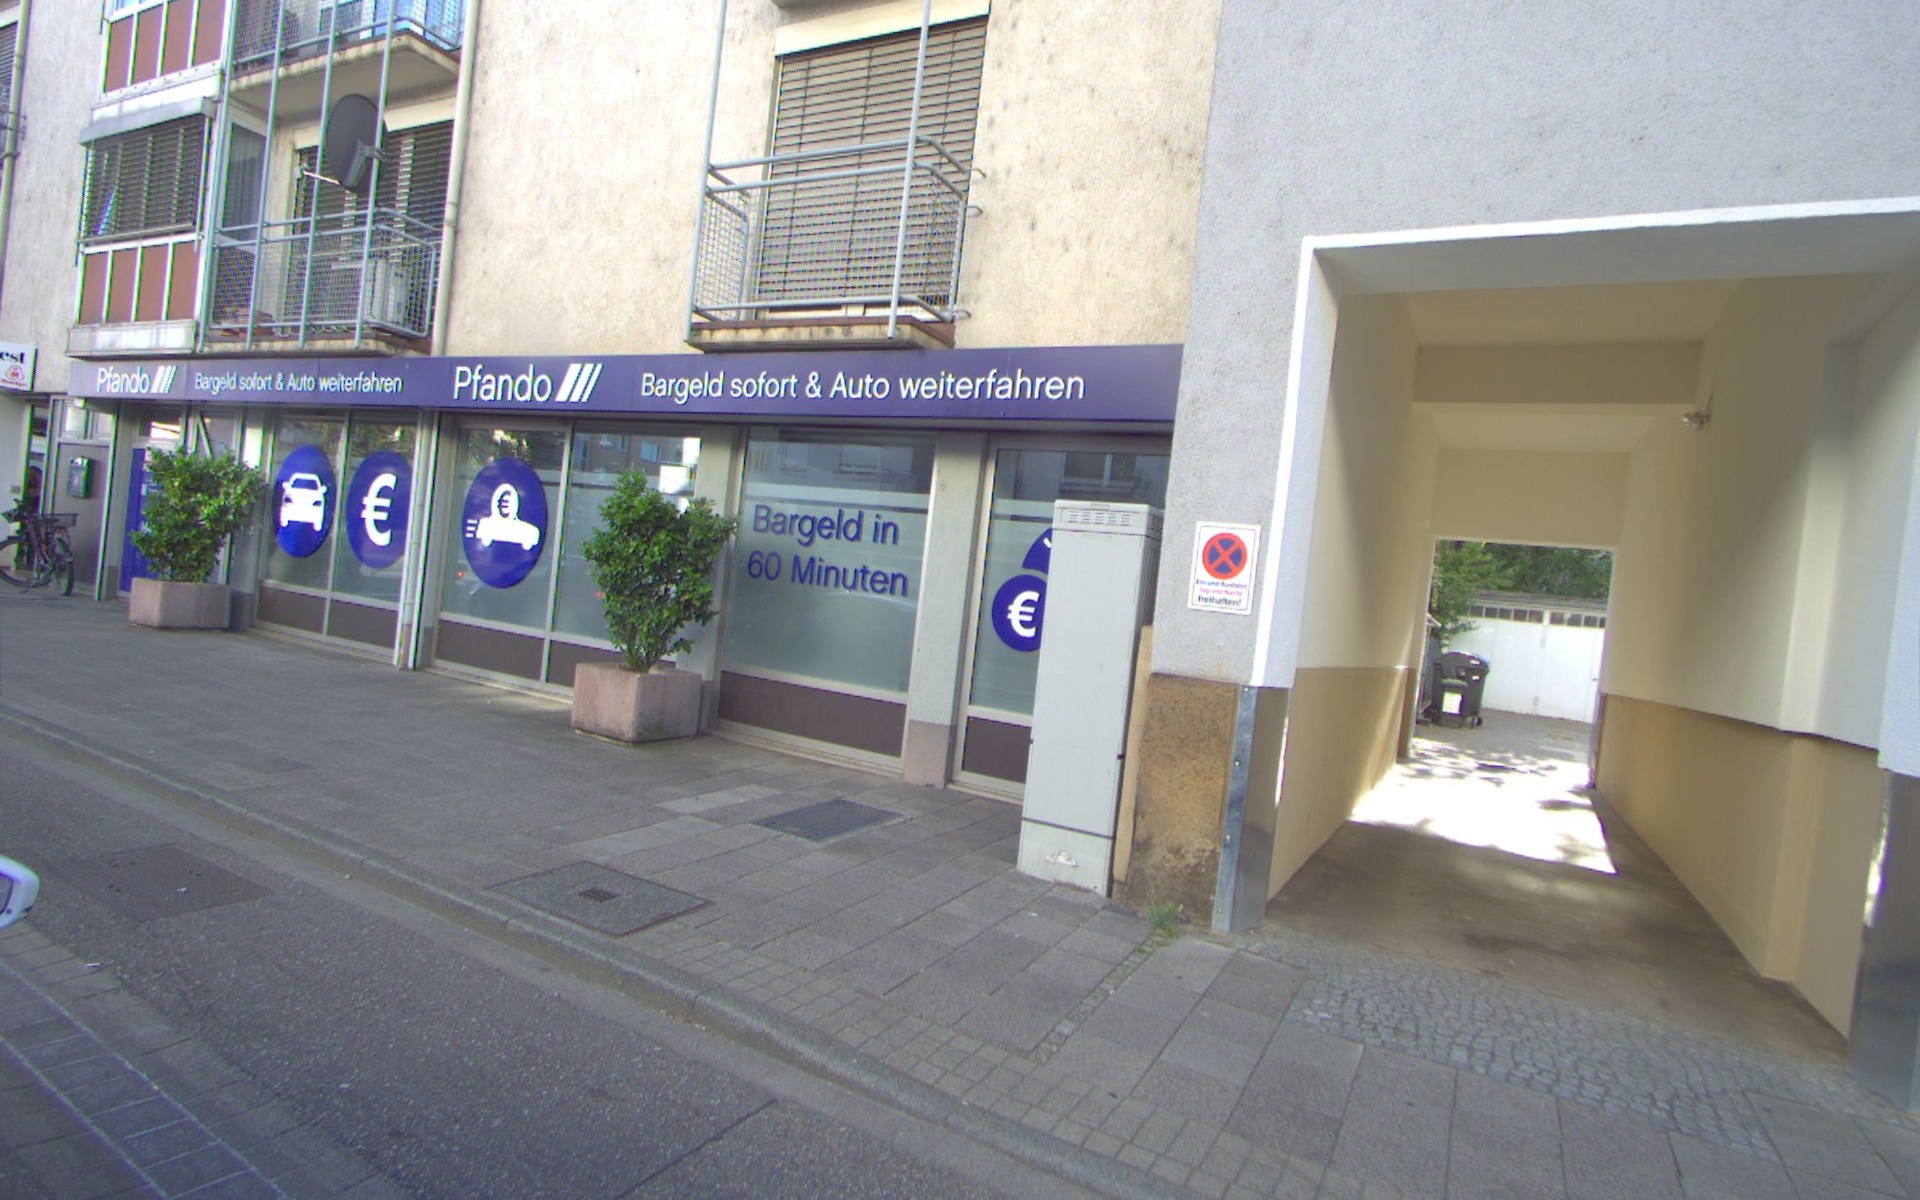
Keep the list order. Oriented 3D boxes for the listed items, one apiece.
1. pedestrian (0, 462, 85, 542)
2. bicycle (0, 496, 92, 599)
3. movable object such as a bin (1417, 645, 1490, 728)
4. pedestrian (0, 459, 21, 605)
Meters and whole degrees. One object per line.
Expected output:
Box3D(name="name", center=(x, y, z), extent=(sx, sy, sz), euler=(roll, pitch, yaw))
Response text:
Box3D(name="pedestrian", center=(-14.113, -1.489, 15.487), extent=(0.667, 1.102, 0.624), euler=(7, 2, -5))
Box3D(name="bicycle", center=(-11.868, -0.692, 12.876), extent=(1.747, 1.176, 0.497), euler=(6, 0, 29))
Box3D(name="movable object such as a bin", center=(10.030, 1.763, 20.423), extent=(1.092, 1.511, 1.329), euler=(6, -2, 30))
Box3D(name="pedestrian", center=(-11.079, -0.798, 11.008), extent=(0.796, 1.614, 0.886), euler=(8, 3, 24))
